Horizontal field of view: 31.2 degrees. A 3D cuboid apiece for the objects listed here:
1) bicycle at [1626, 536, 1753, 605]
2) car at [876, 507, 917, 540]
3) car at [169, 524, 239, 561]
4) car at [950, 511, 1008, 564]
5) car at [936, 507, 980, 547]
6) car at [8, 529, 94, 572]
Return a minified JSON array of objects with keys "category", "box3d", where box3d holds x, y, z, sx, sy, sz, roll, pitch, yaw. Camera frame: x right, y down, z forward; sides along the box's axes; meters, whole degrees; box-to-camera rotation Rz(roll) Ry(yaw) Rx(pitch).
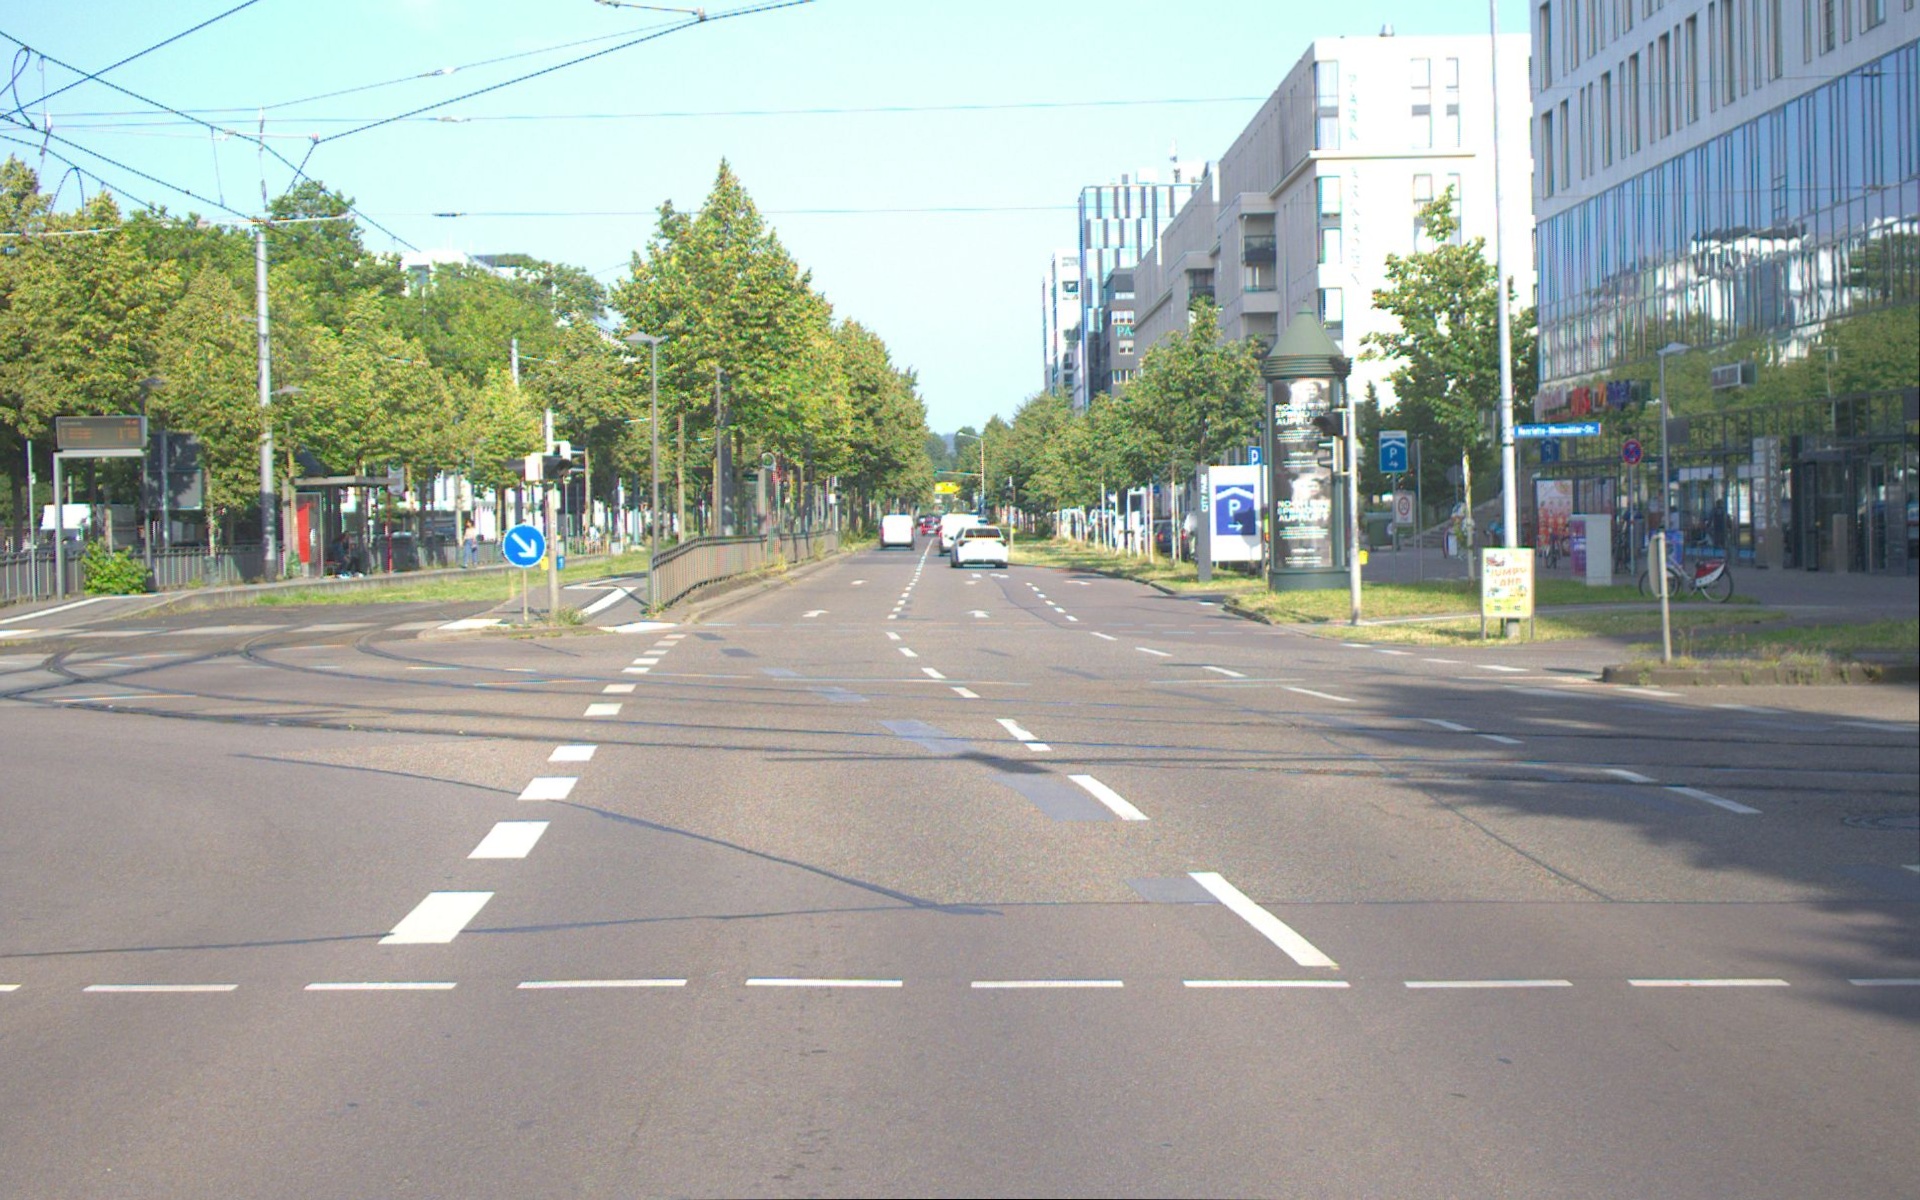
[{"category":"bicycle","box3d":[11.809,-0.493,55.684,0.771,1.028,1.878,-2,4,-43]},{"category":"car","box3d":[-3.319,-3.988,179.165,2.015,1.678,4.000,1,2,0]},{"category":"car","box3d":[-33.481,-2.556,152.434,1.881,1.554,3.999,-1,1,5]},{"category":"car","box3d":[0.630,-2.099,114.385,1.864,1.678,4.000,1,2,0]},{"category":"car","box3d":[-0.078,-3.222,151.289,1.864,1.678,4.000,1,2,0]},{"category":"car","box3d":[-34.888,-1.913,132.026,1.881,1.554,3.999,-1,1,5]}]
